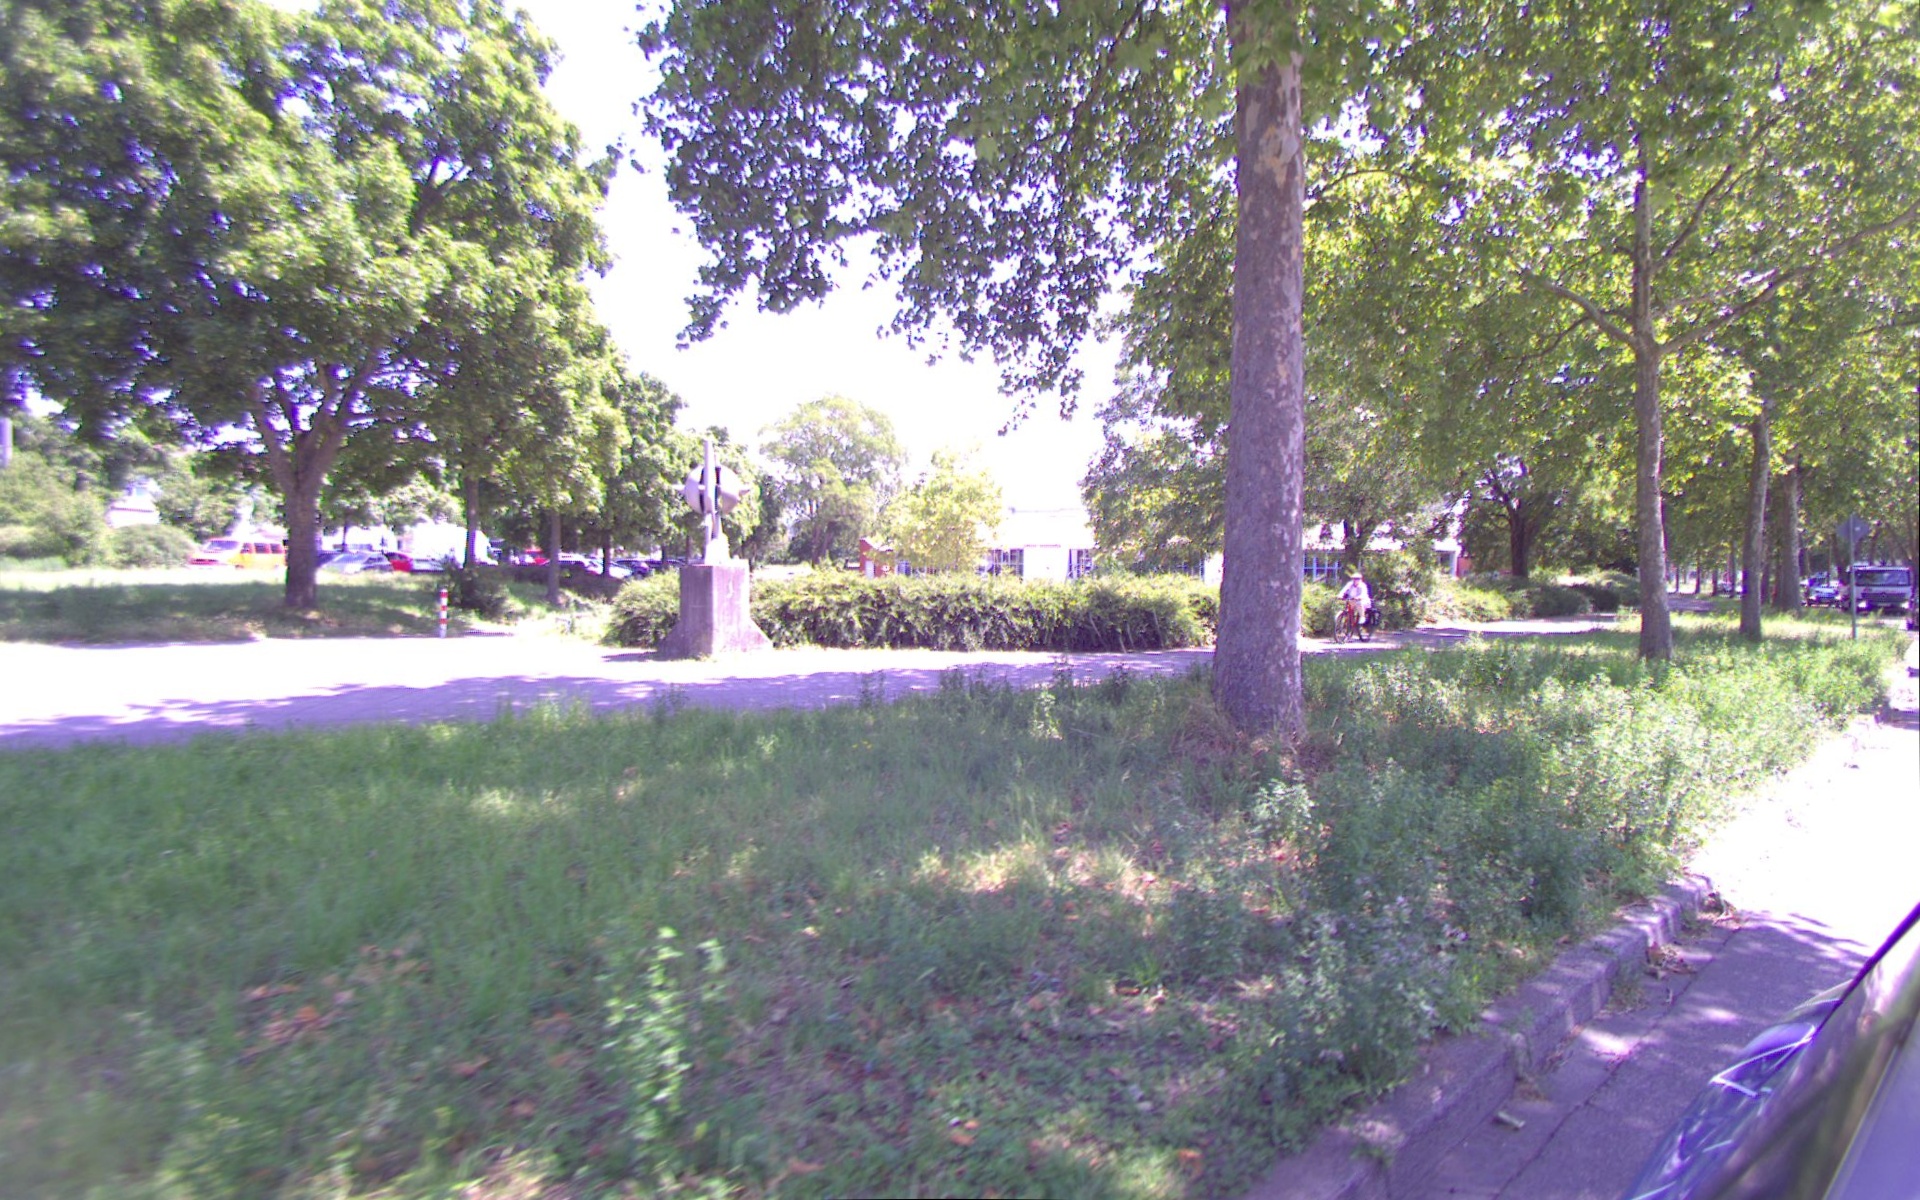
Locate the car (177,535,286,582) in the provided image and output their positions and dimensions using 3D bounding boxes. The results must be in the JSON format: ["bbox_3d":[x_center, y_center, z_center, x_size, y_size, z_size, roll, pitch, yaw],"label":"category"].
[{"bbox_3d":[-33.765,-1.912,47.072,2.033,2.027,4.669,1,2,-5],"label":"car"}]

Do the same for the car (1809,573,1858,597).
[{"bbox_3d":[61.867,-1.102,71.753,1.985,1.638,3.956,2,2,31],"label":"car"}]

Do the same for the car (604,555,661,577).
[{"bbox_3d":[-21.243,-2.199,65.798,3.356,1.382,1.721,0,2,-12],"label":"car"}]

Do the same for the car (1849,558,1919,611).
[{"bbox_3d":[49.895,-0.886,54.308,2.905,2.687,6.279,2,2,38],"label":"car"}]

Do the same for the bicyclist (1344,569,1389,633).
[{"bbox_3d":[8.795,0.018,21.913,0.653,1.355,0.602,0,1,-29],"label":"bicyclist"}]

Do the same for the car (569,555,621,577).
[{"bbox_3d":[-19.642,-1.817,54.500,2.546,1.141,1.009,0,1,-12],"label":"car"}]

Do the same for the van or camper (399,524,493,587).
[{"bbox_3d":[-24.211,-2.099,47.947,2.159,2.785,5.136,1,2,-4],"label":"van or camper"}]

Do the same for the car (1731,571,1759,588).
[{"bbox_3d":[90.212,-2.328,116.310,1.983,1.860,3.958,2,2,30],"label":"car"}]

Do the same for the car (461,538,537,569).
[{"bbox_3d":[-31.945,-3.214,70.251,4.331,2.038,2.251,0,2,-9],"label":"car"}]

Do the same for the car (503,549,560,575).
[{"bbox_3d":[-34.831,-3.074,82.263,3.917,2.038,1.971,0,2,-9],"label":"car"}]

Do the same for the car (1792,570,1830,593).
[{"bbox_3d":[71.067,-1.548,84.551,1.987,1.860,3.951,2,2,34],"label":"car"}]

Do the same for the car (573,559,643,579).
[{"bbox_3d":[-19.784,-1.761,57.000,3.492,1.047,1.686,0,2,-12],"label":"car"}]

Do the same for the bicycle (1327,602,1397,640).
[{"bbox_3d":[8.700,0.446,21.872,1.634,0.773,0.466,0,2,-29],"label":"bicycle"}]

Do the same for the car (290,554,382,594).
[{"bbox_3d":[-28.111,-1.194,45.728,1.917,1.739,4.076,1,2,-5],"label":"car"}]

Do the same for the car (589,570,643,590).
[{"bbox_3d":[-17.631,-1.020,51.938,2.546,0.999,0.955,0,1,-12],"label":"car"}]

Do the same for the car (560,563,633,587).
[{"bbox_3d":[-19.503,-1.342,54.394,3.499,1.240,1.624,0,2,-12],"label":"car"}]
